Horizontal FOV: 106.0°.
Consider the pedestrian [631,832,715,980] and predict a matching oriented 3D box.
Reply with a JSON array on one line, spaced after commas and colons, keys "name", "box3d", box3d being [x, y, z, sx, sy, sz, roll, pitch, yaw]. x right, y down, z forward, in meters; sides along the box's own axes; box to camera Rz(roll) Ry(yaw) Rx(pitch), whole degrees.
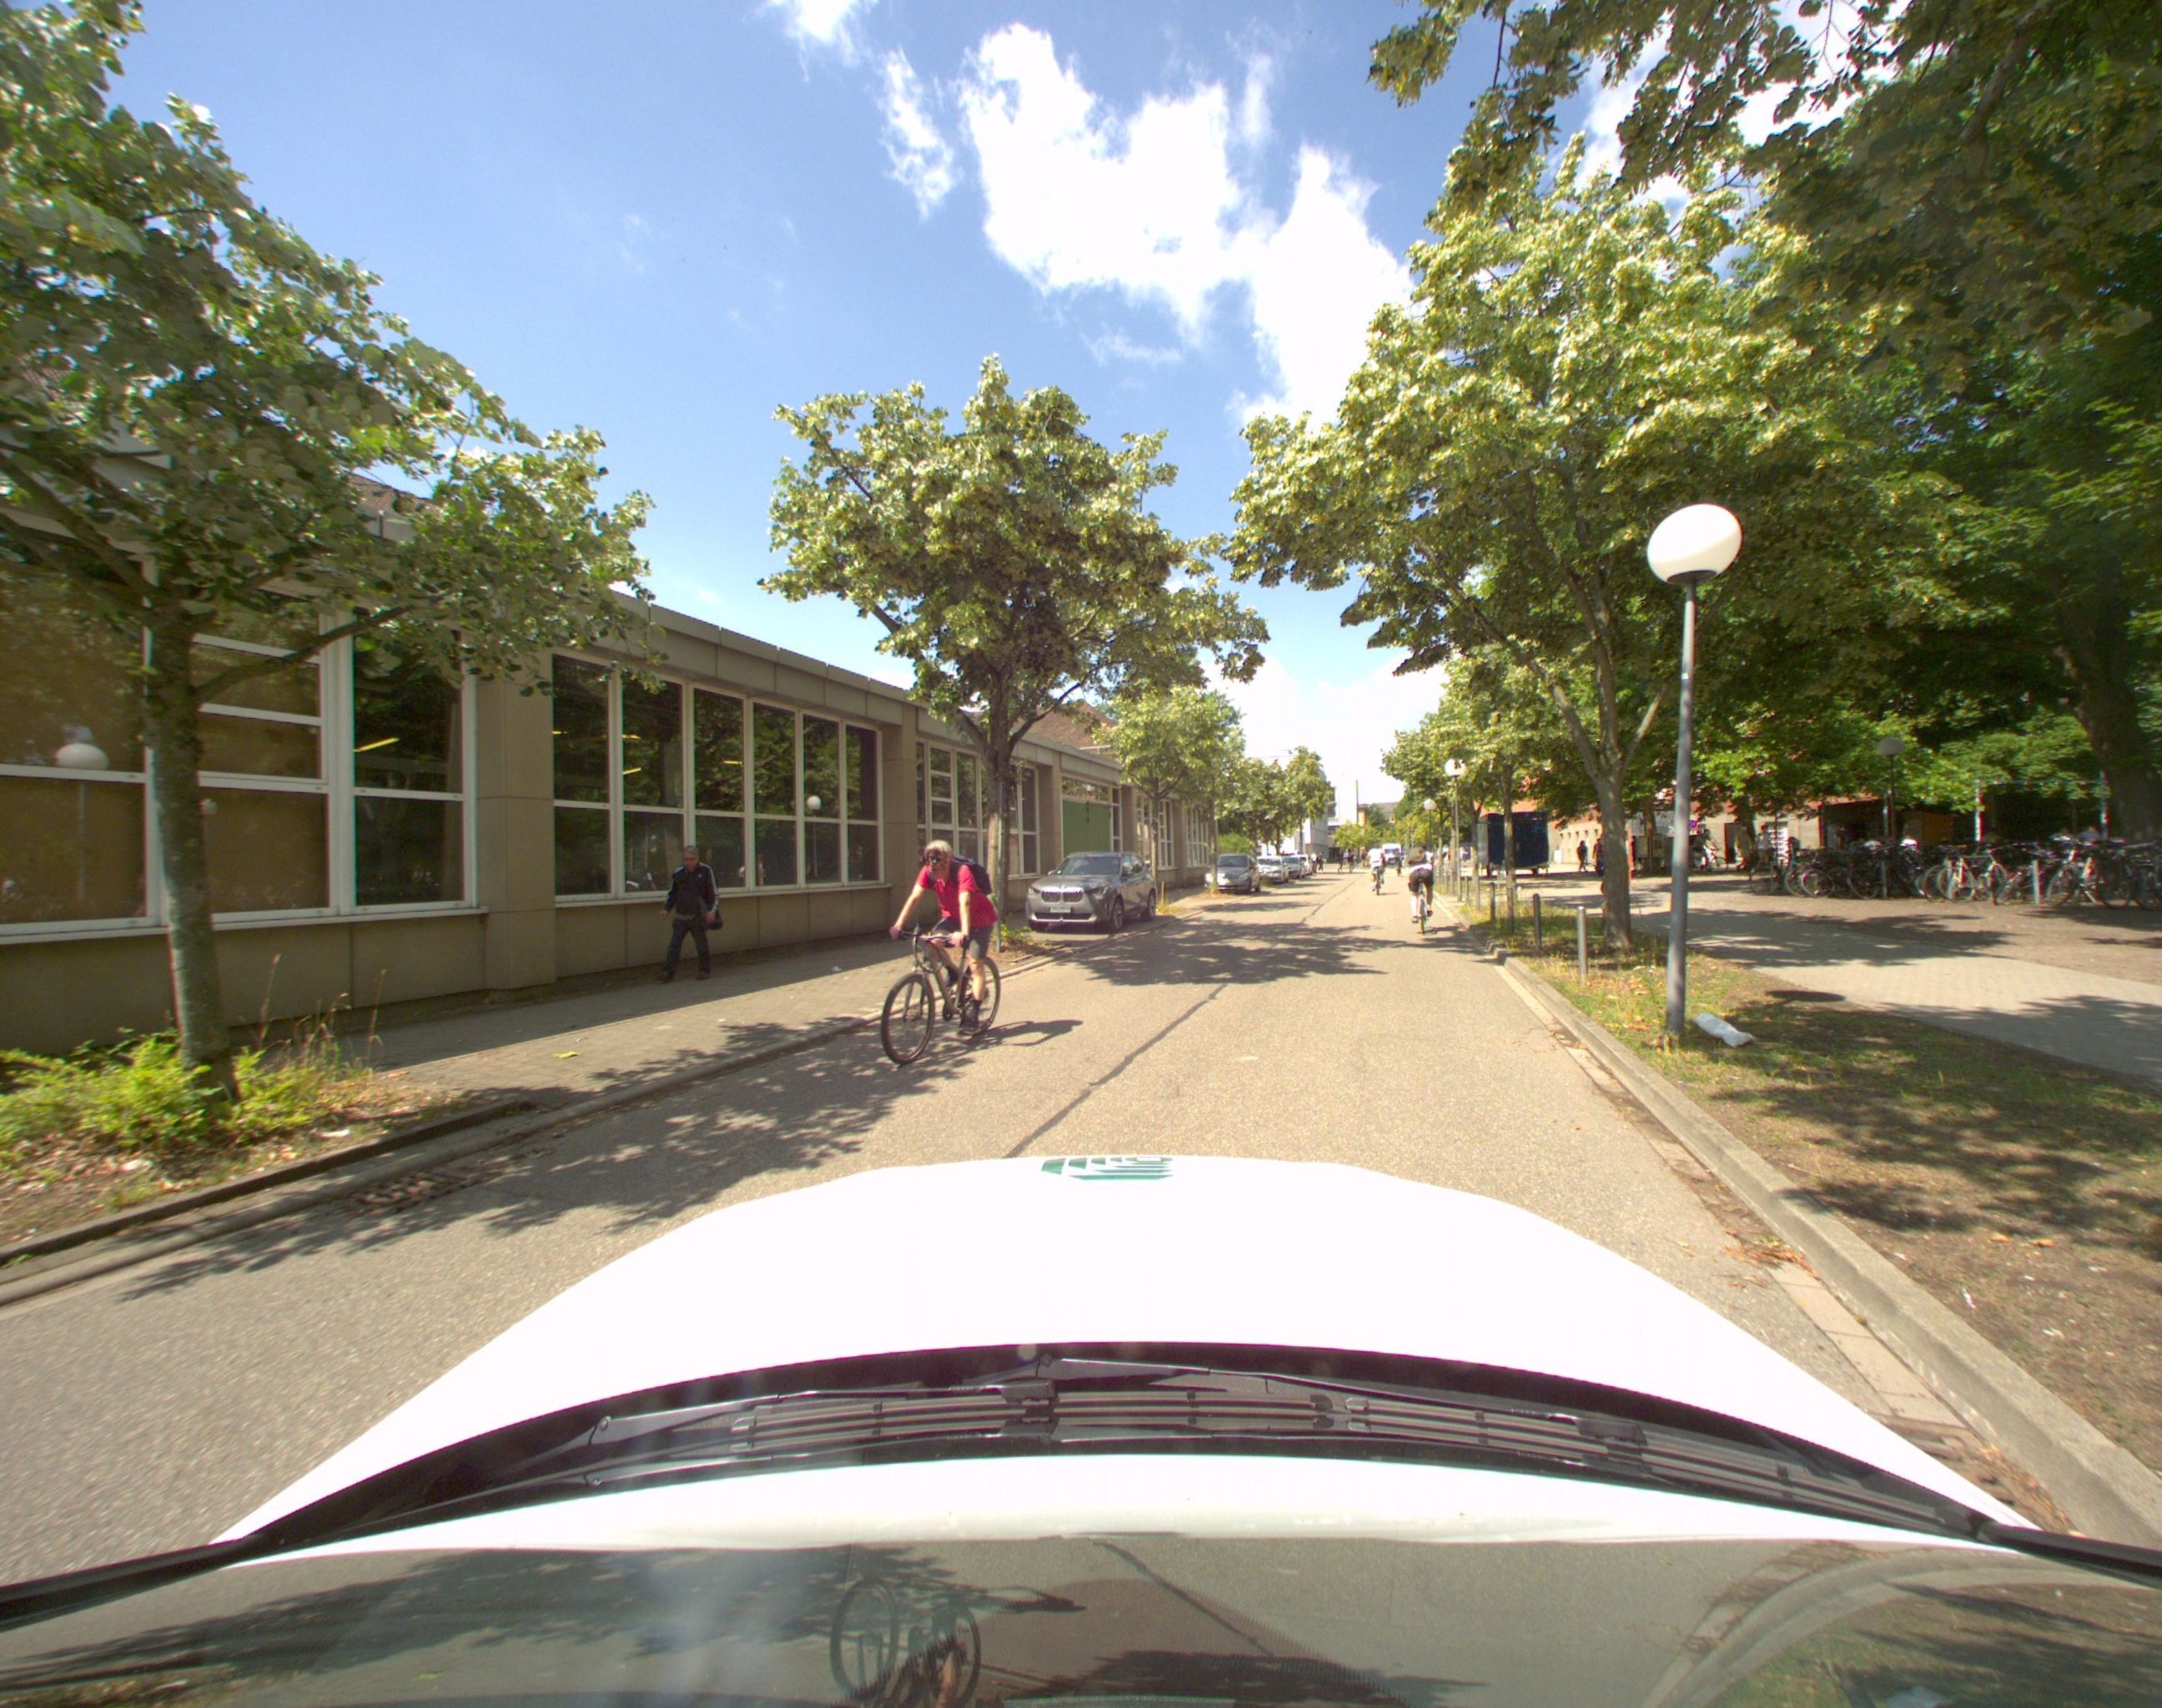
[{"name": "pedestrian", "box3d": [-5.181, 0.623, 10.345, 0.662, 1.787, 0.795, 0, 0, 45]}]

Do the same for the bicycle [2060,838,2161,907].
[{"name": "bicycle", "box3d": [16.702, 0.283, 13.141, 1.736, 1.052, 0.492, -1, -1, -16]}]

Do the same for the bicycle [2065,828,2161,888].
[{"name": "bicycle", "box3d": [19.499, 0.072, 14.974, 0.475, 1.083, 1.903, -2, -1, 0]}]

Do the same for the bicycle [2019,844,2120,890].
[{"name": "bicycle", "box3d": [23.068, 0.309, 19.016, 1.894, 0.979, 0.478, -2, -2, -5]}]

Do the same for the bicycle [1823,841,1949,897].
[{"name": "bicycle", "box3d": [16.354, 0.312, 16.564, 1.932, 1.082, 0.406, -2, -1, 9]}]

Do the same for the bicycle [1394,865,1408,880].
[{"name": "bicycle", "box3d": [21.503, 1.229, 54.702, 0.801, 1.002, 2.134, -1, -1, 22]}]

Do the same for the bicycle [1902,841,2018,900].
[{"name": "bicycle", "box3d": [16.724, 0.315, 15.506, 1.903, 1.059, 0.325, -2, -1, -3]}]

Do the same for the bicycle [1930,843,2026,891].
[{"name": "bicycle", "box3d": [23.328, 0.337, 21.199, 1.891, 1.143, 0.479, -2, -2, 1]}]

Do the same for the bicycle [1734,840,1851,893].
[{"name": "bicycle", "box3d": [16.651, 0.294, 19.107, 2.002, 1.167, 0.653, -2, -1, 9]}]

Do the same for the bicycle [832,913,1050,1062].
[{"name": "bicycle", "box3d": [-1.076, 1.024, 6.841, 0.808, 1.042, 1.942, -2, -4, 26]}]

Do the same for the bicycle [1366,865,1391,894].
[{"name": "bicycle", "box3d": [10.812, 0.912, 29.612, 0.801, 1.002, 2.134, -2, -2, 20]}]

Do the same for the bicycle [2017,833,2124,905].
[{"name": "bicycle", "box3d": [16.905, 0.245, 13.919, 1.736, 1.155, 0.492, -1, -1, -16]}]

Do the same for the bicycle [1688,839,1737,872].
[{"name": "bicycle", "box3d": [24.869, 0.083, 32.101, 0.528, 1.252, 1.737, -3, -1, 1]}]

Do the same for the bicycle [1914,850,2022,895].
[{"name": "bicycle", "box3d": [20.969, 0.437, 19.272, 1.892, 0.979, 0.612, -2, -1, -2]}]

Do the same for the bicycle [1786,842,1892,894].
[{"name": "bicycle", "box3d": [16.763, 0.311, 18.037, 1.757, 1.082, 0.439, -2, -1, 9]}]

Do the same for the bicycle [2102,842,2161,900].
[{"name": "bicycle", "box3d": [20.457, 0.307, 15.160, 0.475, 1.083, 1.903, -2, -1, 0]}]

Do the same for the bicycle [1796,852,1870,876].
[{"name": "bicycle", "box3d": [34.244, 0.441, 37.137, 2.373, 1.072, 0.788, 0, -1, 33]}]

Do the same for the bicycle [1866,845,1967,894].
[{"name": "bicycle", "box3d": [21.007, 0.390, 20.489, 1.892, 1.118, 0.612, -2, -2, -2]}]

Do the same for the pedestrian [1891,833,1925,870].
[{"name": "pedestrian", "box3d": [31.941, -0.098, 31.452, 0.565, 1.346, 0.732, -4, -1, 16]}]

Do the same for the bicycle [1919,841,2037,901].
[{"name": "bicycle", "box3d": [16.722, 0.310, 15.195, 1.903, 1.059, 0.325, -2, -1, -3]}]

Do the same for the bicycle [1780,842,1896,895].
[{"name": "bicycle", "box3d": [16.433, 0.323, 17.704, 1.932, 1.082, 0.406, -2, -1, 9]}]

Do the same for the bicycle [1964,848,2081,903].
[{"name": "bicycle", "box3d": [16.602, 0.374, 14.371, 1.732, 0.909, 0.493, -2, -1, -9]}]

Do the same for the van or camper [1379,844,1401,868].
[{"name": "van or camper", "box3d": [33.328, 0.257, 87.733, 1.976, 2.446, 4.594, -2, -2, 23]}]

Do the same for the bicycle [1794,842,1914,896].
[{"name": "bicycle", "box3d": [16.374, 0.317, 17.276, 1.932, 1.082, 0.406, -2, -1, 9]}]

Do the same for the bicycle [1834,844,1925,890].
[{"name": "bicycle", "box3d": [21.068, 0.338, 21.503, 1.798, 1.118, 0.612, -2, -2, -2]}]

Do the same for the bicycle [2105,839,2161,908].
[{"name": "bicycle", "box3d": [16.974, 0.283, 12.717, 1.792, 1.028, 0.438, -1, -1, -12]}]

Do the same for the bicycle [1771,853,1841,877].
[{"name": "bicycle", "box3d": [34.811, 0.546, 39.144, 2.373, 1.072, 0.788, -2, -2, 34]}]

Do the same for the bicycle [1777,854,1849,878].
[{"name": "bicycle", "box3d": [34.413, 0.560, 38.312, 2.374, 1.072, 0.787, -2, -2, 28]}]

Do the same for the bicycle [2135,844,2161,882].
[{"name": "bicycle", "box3d": [29.087, 0.200, 21.374, 1.946, 0.979, 0.613, -2, -1, 1]}]

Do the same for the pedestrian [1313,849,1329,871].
[{"name": "pedestrian", "box3d": [19.197, 0.473, 65.131, 0.981, 1.721, 0.708, -3, -7, 37]}]

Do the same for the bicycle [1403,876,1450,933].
[{"name": "bicycle", "box3d": [6.570, 0.929, 15.558, 0.700, 0.993, 1.920, -1, -1, 20]}]

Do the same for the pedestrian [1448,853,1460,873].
[{"name": "pedestrian", "box3d": [31.485, 0.728, 68.700, 0.502, 1.630, 0.568, -9, 0, -15]}]

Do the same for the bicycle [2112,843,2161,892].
[{"name": "bicycle", "box3d": [22.965, 0.259, 17.178, 1.893, 0.979, 0.478, -2, -2, -3]}]

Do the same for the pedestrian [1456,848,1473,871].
[{"name": "pedestrian", "box3d": [32.448, 0.459, 68.937, 0.709, 1.787, 0.749, -9, 0, -15]}]

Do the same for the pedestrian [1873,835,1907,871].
[{"name": "pedestrian", "box3d": [31.391, -0.055, 31.615, 0.565, 1.346, 0.732, -4, -1, 16]}]

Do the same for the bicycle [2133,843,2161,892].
[{"name": "bicycle", "box3d": [22.933, 0.250, 16.801, 1.893, 0.979, 0.478, -2, -2, -3]}]
